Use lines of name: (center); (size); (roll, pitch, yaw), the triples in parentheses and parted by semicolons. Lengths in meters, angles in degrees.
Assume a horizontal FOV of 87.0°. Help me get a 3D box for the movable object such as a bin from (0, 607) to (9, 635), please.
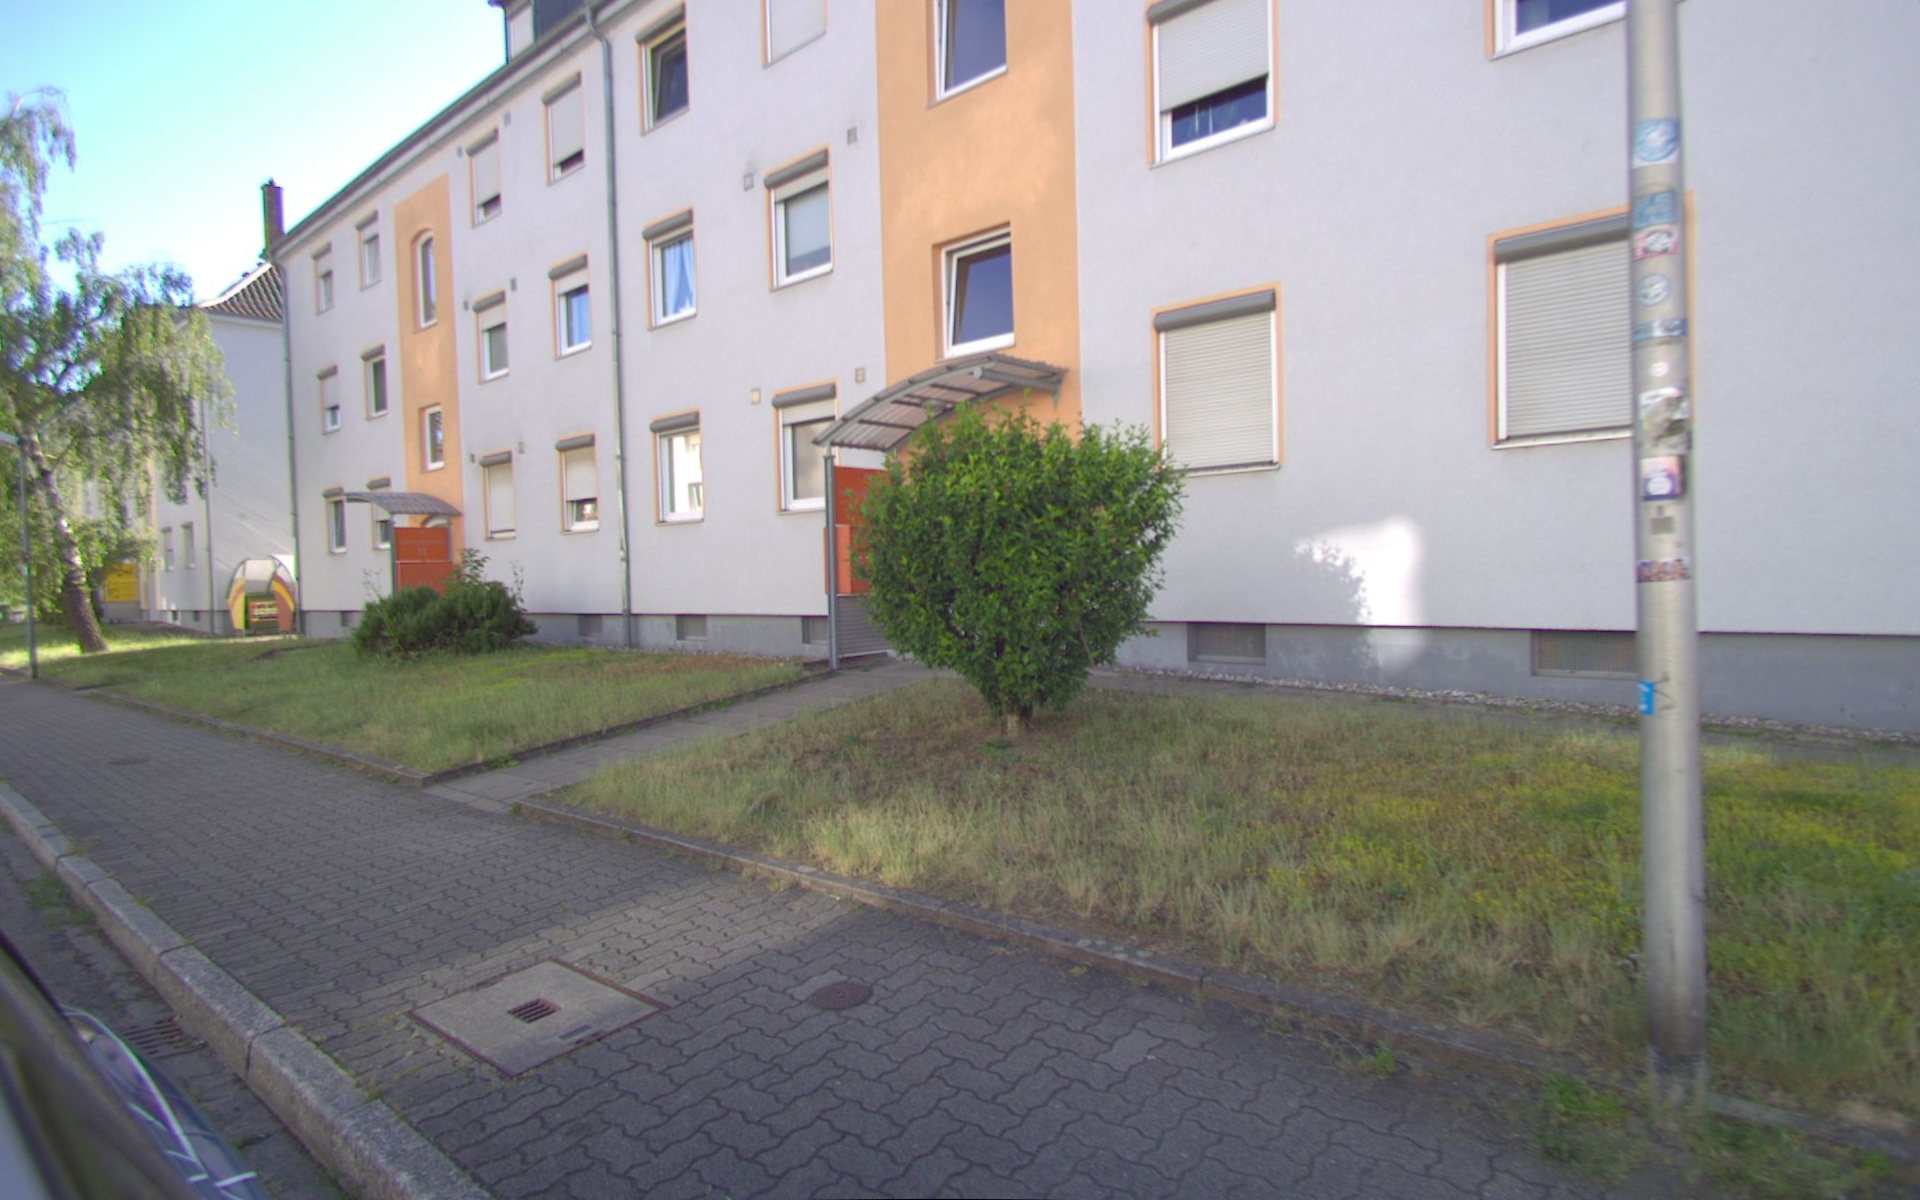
movable object such as a bin: (-51.454, 1.172, 53.594); (1.072, 1.463, 1.347); (-1, 5, 41)

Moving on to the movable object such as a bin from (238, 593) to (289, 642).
movable object such as a bin: (-21.131, 0.519, 30.704); (0.812, 1.416, 1.073); (-1, 2, 41)
